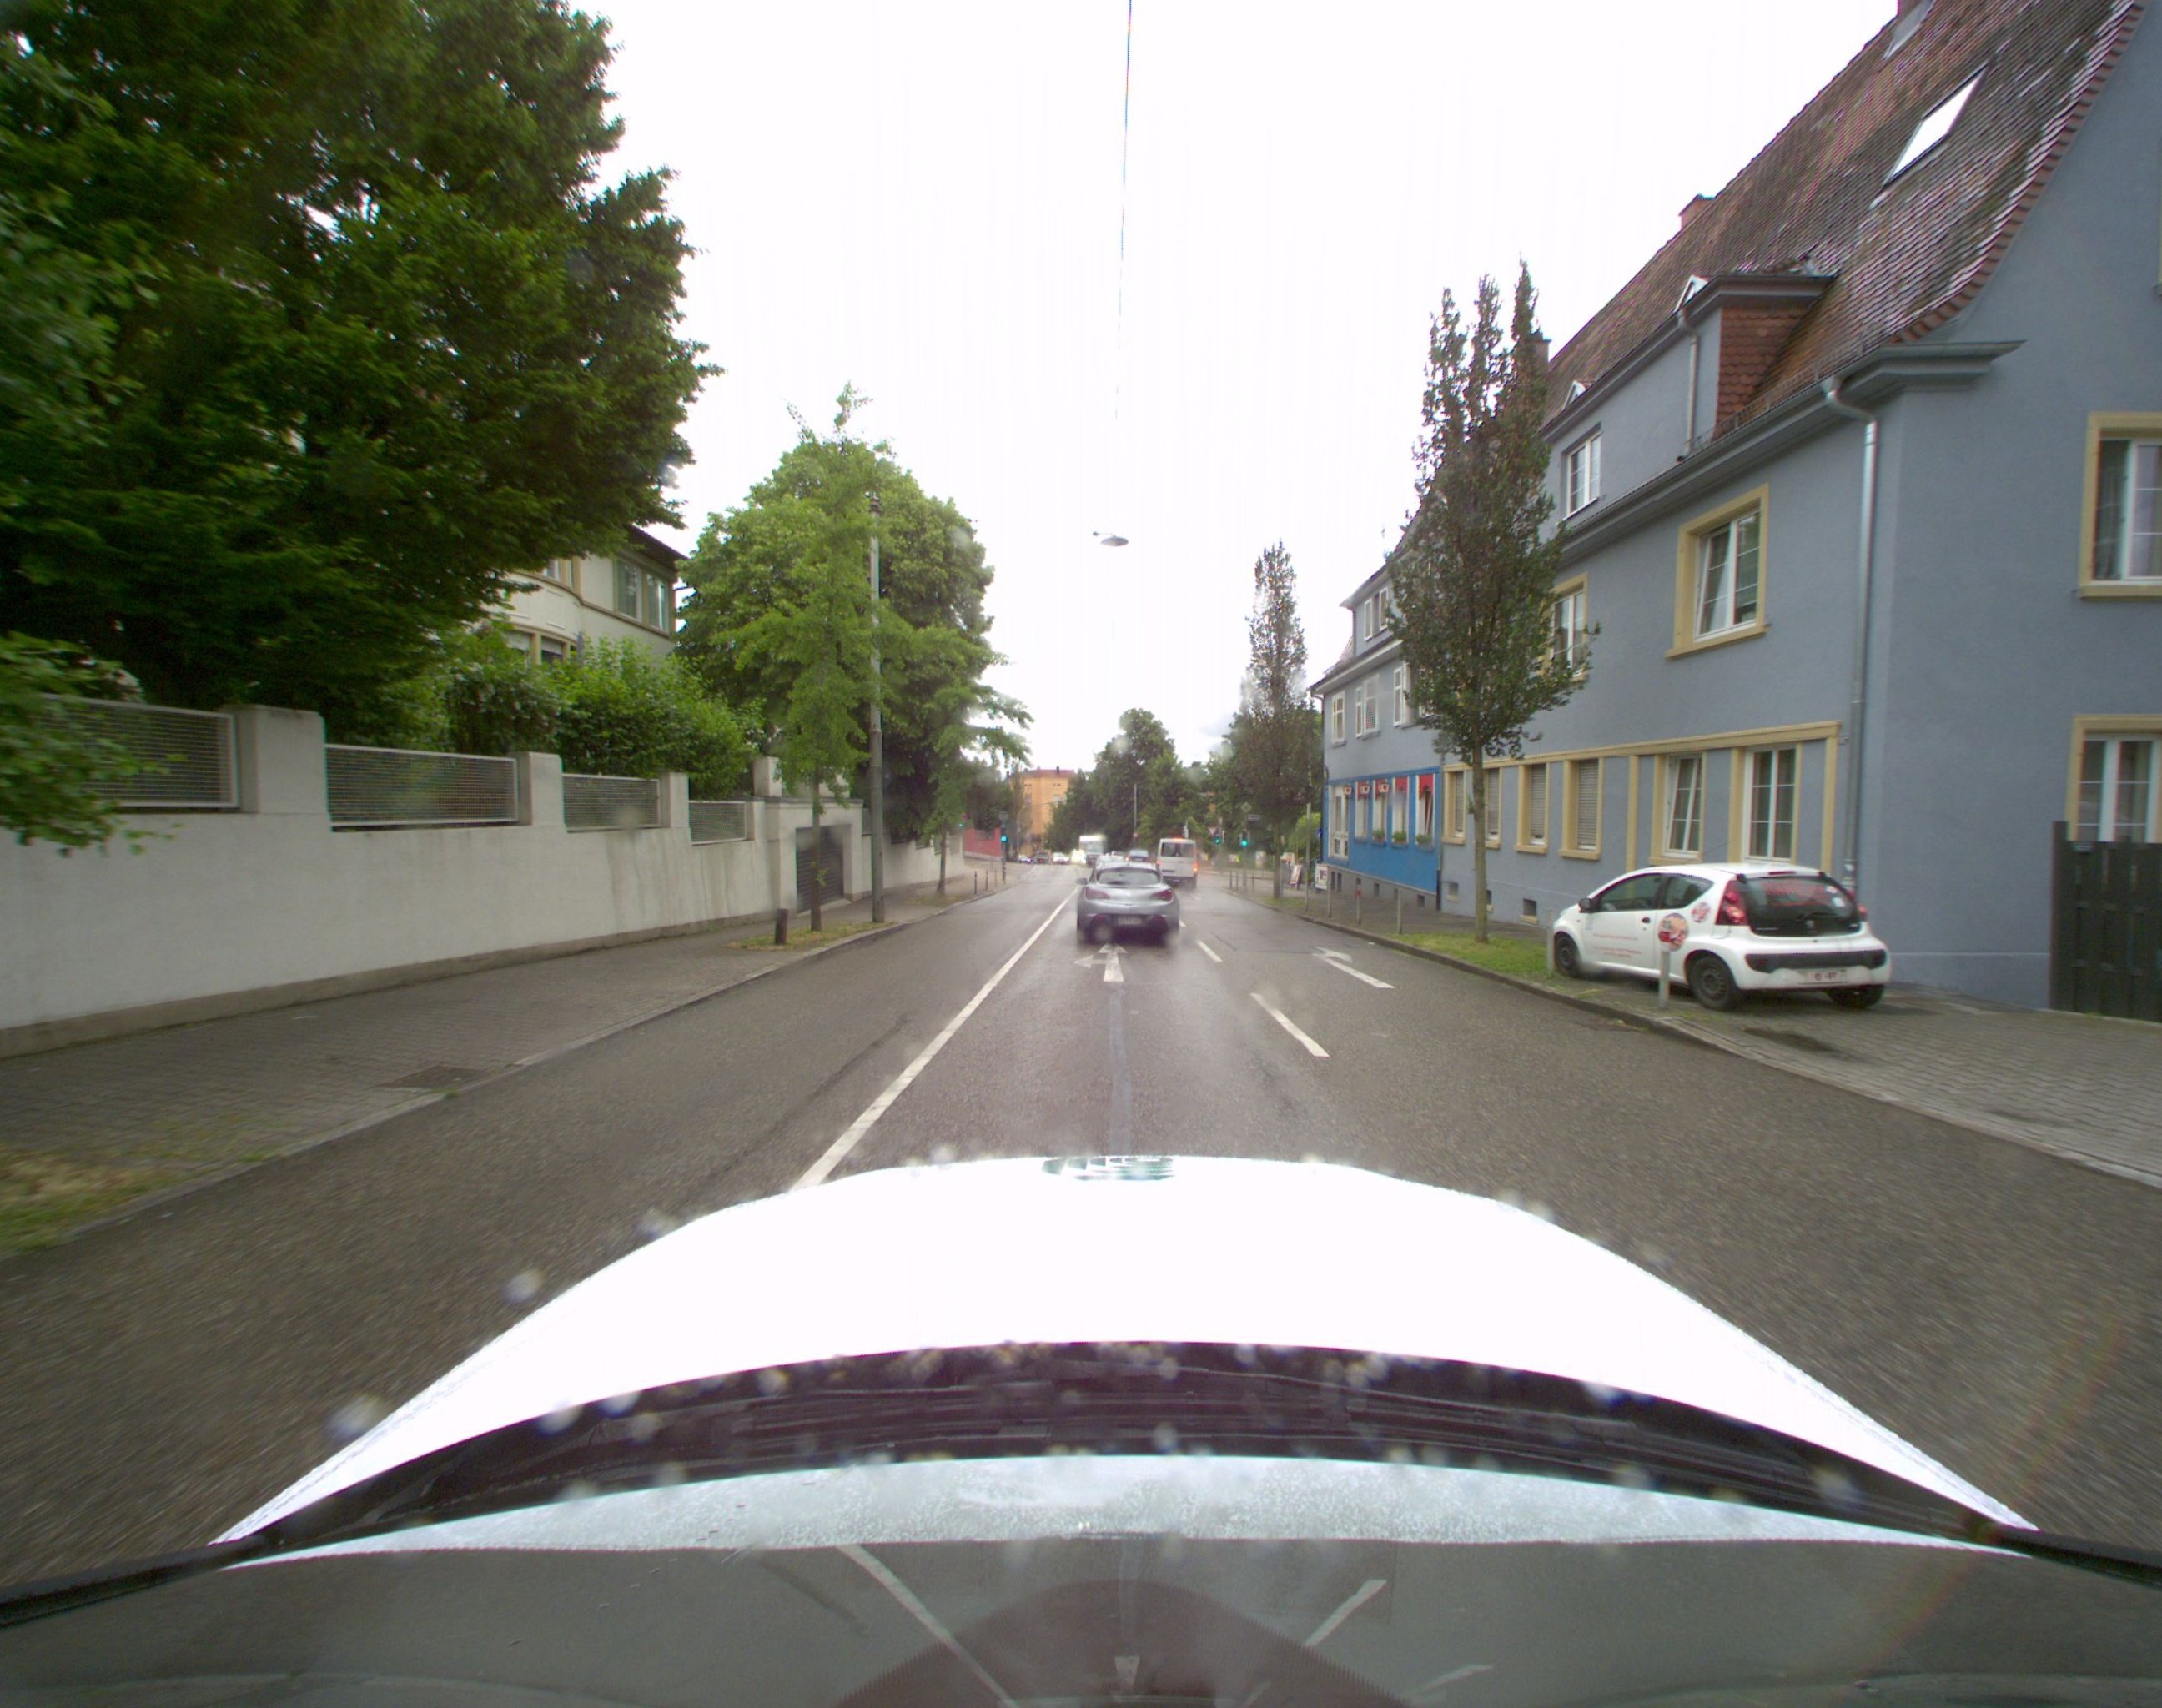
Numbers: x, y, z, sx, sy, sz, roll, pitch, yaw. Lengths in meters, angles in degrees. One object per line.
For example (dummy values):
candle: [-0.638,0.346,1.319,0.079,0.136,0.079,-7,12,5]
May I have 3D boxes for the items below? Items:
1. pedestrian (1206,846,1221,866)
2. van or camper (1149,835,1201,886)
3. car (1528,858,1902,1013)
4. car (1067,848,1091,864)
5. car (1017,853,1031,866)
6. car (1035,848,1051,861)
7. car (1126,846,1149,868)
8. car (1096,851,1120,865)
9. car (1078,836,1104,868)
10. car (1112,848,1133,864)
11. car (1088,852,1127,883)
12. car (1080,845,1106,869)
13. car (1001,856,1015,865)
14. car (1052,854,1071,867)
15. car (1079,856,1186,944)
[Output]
pedestrian: [10.977,0.189,67.512,0.769,1.605,0.958,-2,0,-24]
van or camper: [4.645,0.308,40.943,2.095,2.326,5.420,2,0,2]
car: [7.001,0.779,9.485,1.582,1.412,3.454,-1,0,-2]
car: [-0.203,0.188,84.340,1.874,1.575,4.573,0,-1,-8]
car: [-7.750,0.732,110.936,1.849,1.486,5.361,0,1,-3]
car: [-5.843,0.148,124.341,1.784,1.855,3.980,1,-1,-14]
car: [3.886,0.203,56.540,1.378,1.411,3.456,-1,0,0]
car: [3.254,0.457,100.258,1.817,1.495,3.981,-6,0,-14]
car: [0.802,-0.154,69.216,2.111,2.545,5.537,0,0,-1]
car: [4.070,0.227,80.385,1.617,1.486,3.431,0,-1,-4]
car: [1.314,0.699,40.213,1.769,1.430,3.786,-1,-3,2]
car: [0.873,0.206,60.758,1.816,1.652,4.345,1,1,0]
car: [-12.931,1.144,144.120,1.846,1.584,4.263,5,-1,-11]
car: [-2.420,0.773,99.077,1.773,1.497,4.249,0,-1,-9]
car: [0.951,0.796,15.913,1.808,1.429,4.002,1,1,2]
